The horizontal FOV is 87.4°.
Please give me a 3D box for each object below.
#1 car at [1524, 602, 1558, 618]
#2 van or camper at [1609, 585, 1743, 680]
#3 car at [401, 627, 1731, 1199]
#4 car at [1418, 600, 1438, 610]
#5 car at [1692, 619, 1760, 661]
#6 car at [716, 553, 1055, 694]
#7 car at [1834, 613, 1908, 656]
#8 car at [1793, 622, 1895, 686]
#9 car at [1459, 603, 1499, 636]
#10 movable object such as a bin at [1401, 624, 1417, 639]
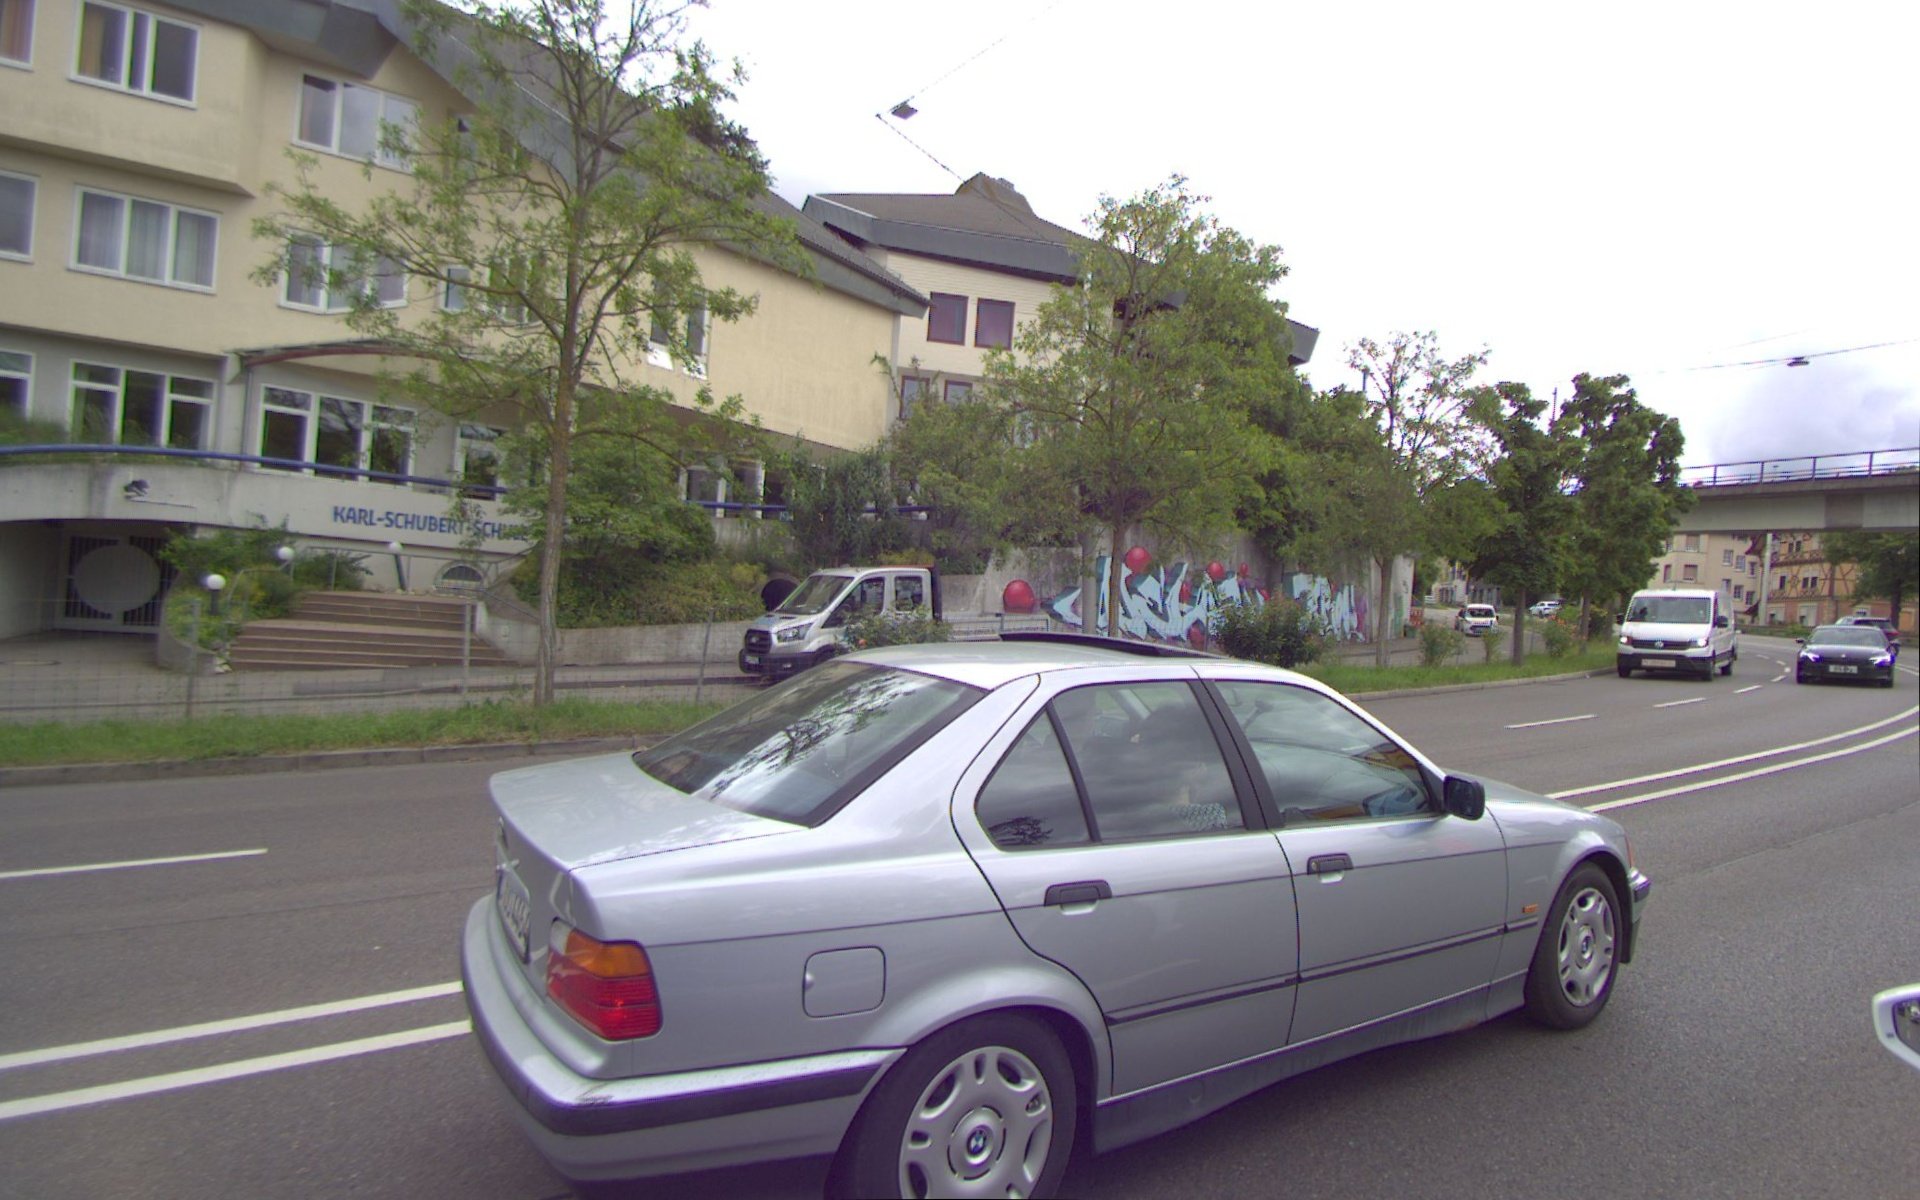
[{"bbox_3d":[56.172,0.954,97.092,1.693,1.394,3.458,2,1,10],"label":"car"},{"bbox_3d":[19.342,0.811,26.988,1.988,2.291,5.924,1,0,45],"label":"van or camper"},{"bbox_3d":[0.691,0.844,3.508,4.567,1.401,1.626,1,1,-32],"label":"car"},{"bbox_3d":[69.565,0.673,149.324,1.693,1.394,3.458,2,1,10],"label":"car"},{"bbox_3d":[28.706,1.470,37.606,1.684,1.427,3.788,1,0,42],"label":"car"},{"bbox_3d":[-1.250,0.434,19.223,6.269,2.303,2.250,1,0,-38],"label":"car"},{"bbox_3d":[39.449,1.456,43.587,1.698,1.662,3.448,2,1,31],"label":"car"},{"bbox_3d":[22.185,1.276,25.145,1.717,1.433,4.402,0,-1,44],"label":"car"},{"bbox_3d":[30.162,1.115,58.467,1.738,1.809,4.462,0,0,24],"label":"car"},{"bbox_3d":[21.989,1.522,49.170,0.548,0.649,0.581,6,4,14],"label":"movable object such as a bin"}]
